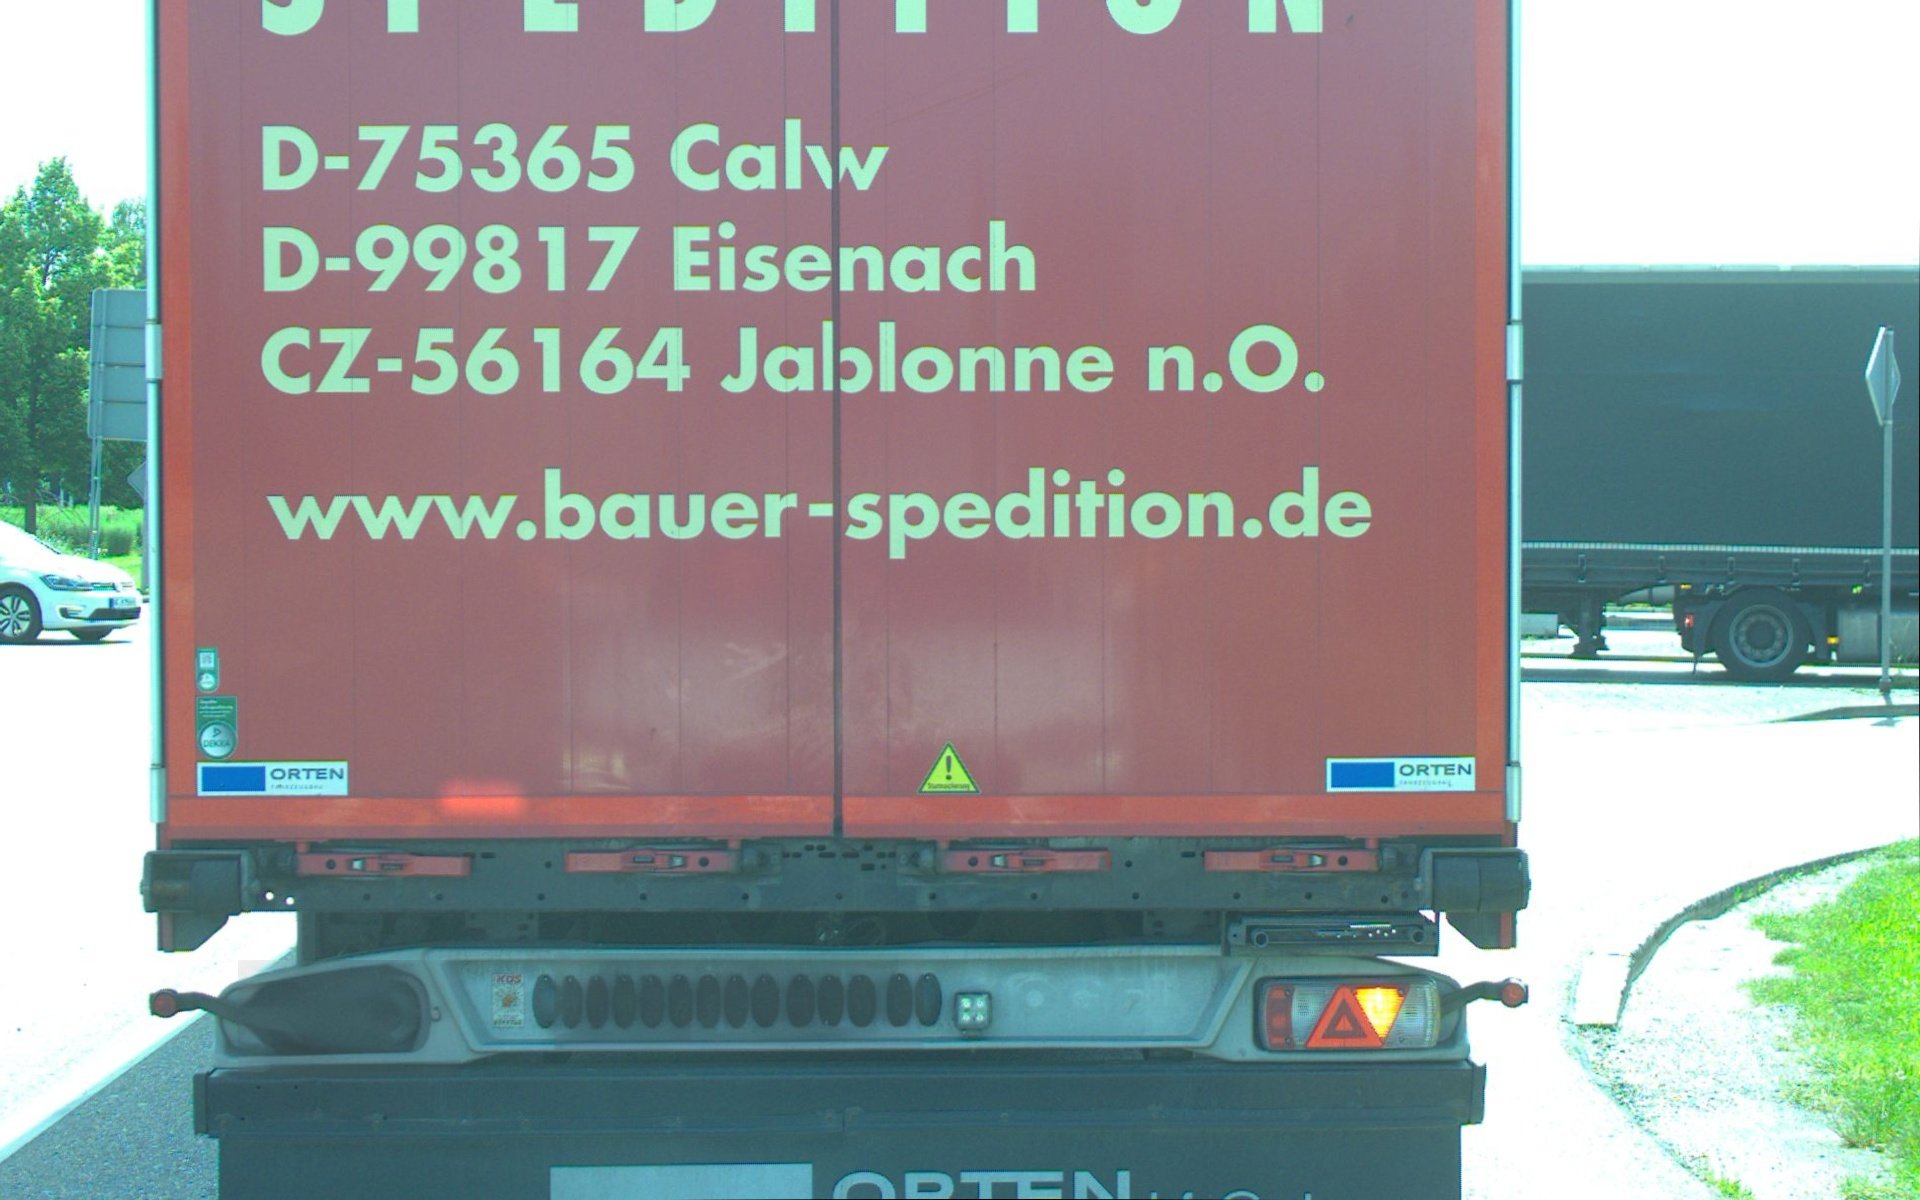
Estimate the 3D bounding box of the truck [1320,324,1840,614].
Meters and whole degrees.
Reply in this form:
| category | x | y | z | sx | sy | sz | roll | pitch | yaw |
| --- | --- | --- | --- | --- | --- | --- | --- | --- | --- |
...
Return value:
| category | x | y | z | sx | sy | sz | roll | pitch | yaw |
| --- | --- | --- | --- | --- | --- | --- | --- | --- | --- |
| truck | 9.012 | -1.927 | 49.939 | 6.937 | 3.980 | 3.025 | 1 | 2 | 21 |

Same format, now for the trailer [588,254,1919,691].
| category | x | y | z | sx | sy | sz | roll | pitch | yaw |
| --- | --- | --- | --- | --- | --- | --- | --- | --- | --- |
| trailer | 3.200 | -1.357 | 34.761 | 13.693 | 4.047 | 2.797 | 1 | 2 | 14 |

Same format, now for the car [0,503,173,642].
| category | x | y | z | sx | sy | sz | roll | pitch | yaw |
| --- | --- | --- | --- | --- | --- | --- | --- | --- | --- |
| car | -11.176 | -0.352 | 38.557 | 4.250 | 1.456 | 1.808 | 1 | 2 | 18 |

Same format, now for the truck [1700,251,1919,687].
| category | x | y | z | sx | sy | sz | roll | pitch | yaw |
| --- | --- | --- | --- | --- | --- | --- | --- | --- | --- |
| truck | 10.235 | -1.245 | 33.184 | 5.828 | 4.047 | 2.797 | 1 | 2 | 9 |

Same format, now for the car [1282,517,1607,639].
| category | x | y | z | sx | sy | sz | roll | pitch | yaw |
| --- | --- | --- | --- | --- | --- | --- | --- | --- | --- |
| car | 6.206 | -0.282 | 43.907 | 3.997 | 1.486 | 1.537 | 1 | 0 | 12 |

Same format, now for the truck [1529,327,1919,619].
| category | x | y | z | sx | sy | sz | roll | pitch | yaw |
| --- | --- | --- | --- | --- | --- | --- | --- | --- | --- |
| truck | 15.295 | -1.716 | 47.509 | 14.297 | 3.966 | 3.024 | 2 | 2 | 21 |

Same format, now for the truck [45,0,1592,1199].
| category | x | y | z | sx | sy | sz | roll | pitch | yaw |
| --- | --- | --- | --- | --- | --- | --- | --- | --- | --- |
| truck | -0.379 | -0.790 | 14.411 | 2.734 | 3.911 | 16.627 | 0 | 1 | -1 |

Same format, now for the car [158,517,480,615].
| category | x | y | z | sx | sy | sz | roll | pitch | yaw |
| --- | --- | --- | --- | --- | --- | --- | --- | --- | --- |
| car | -9.001 | -0.496 | 48.222 | 4.273 | 1.300 | 1.739 | 1 | 1 | 27 |
